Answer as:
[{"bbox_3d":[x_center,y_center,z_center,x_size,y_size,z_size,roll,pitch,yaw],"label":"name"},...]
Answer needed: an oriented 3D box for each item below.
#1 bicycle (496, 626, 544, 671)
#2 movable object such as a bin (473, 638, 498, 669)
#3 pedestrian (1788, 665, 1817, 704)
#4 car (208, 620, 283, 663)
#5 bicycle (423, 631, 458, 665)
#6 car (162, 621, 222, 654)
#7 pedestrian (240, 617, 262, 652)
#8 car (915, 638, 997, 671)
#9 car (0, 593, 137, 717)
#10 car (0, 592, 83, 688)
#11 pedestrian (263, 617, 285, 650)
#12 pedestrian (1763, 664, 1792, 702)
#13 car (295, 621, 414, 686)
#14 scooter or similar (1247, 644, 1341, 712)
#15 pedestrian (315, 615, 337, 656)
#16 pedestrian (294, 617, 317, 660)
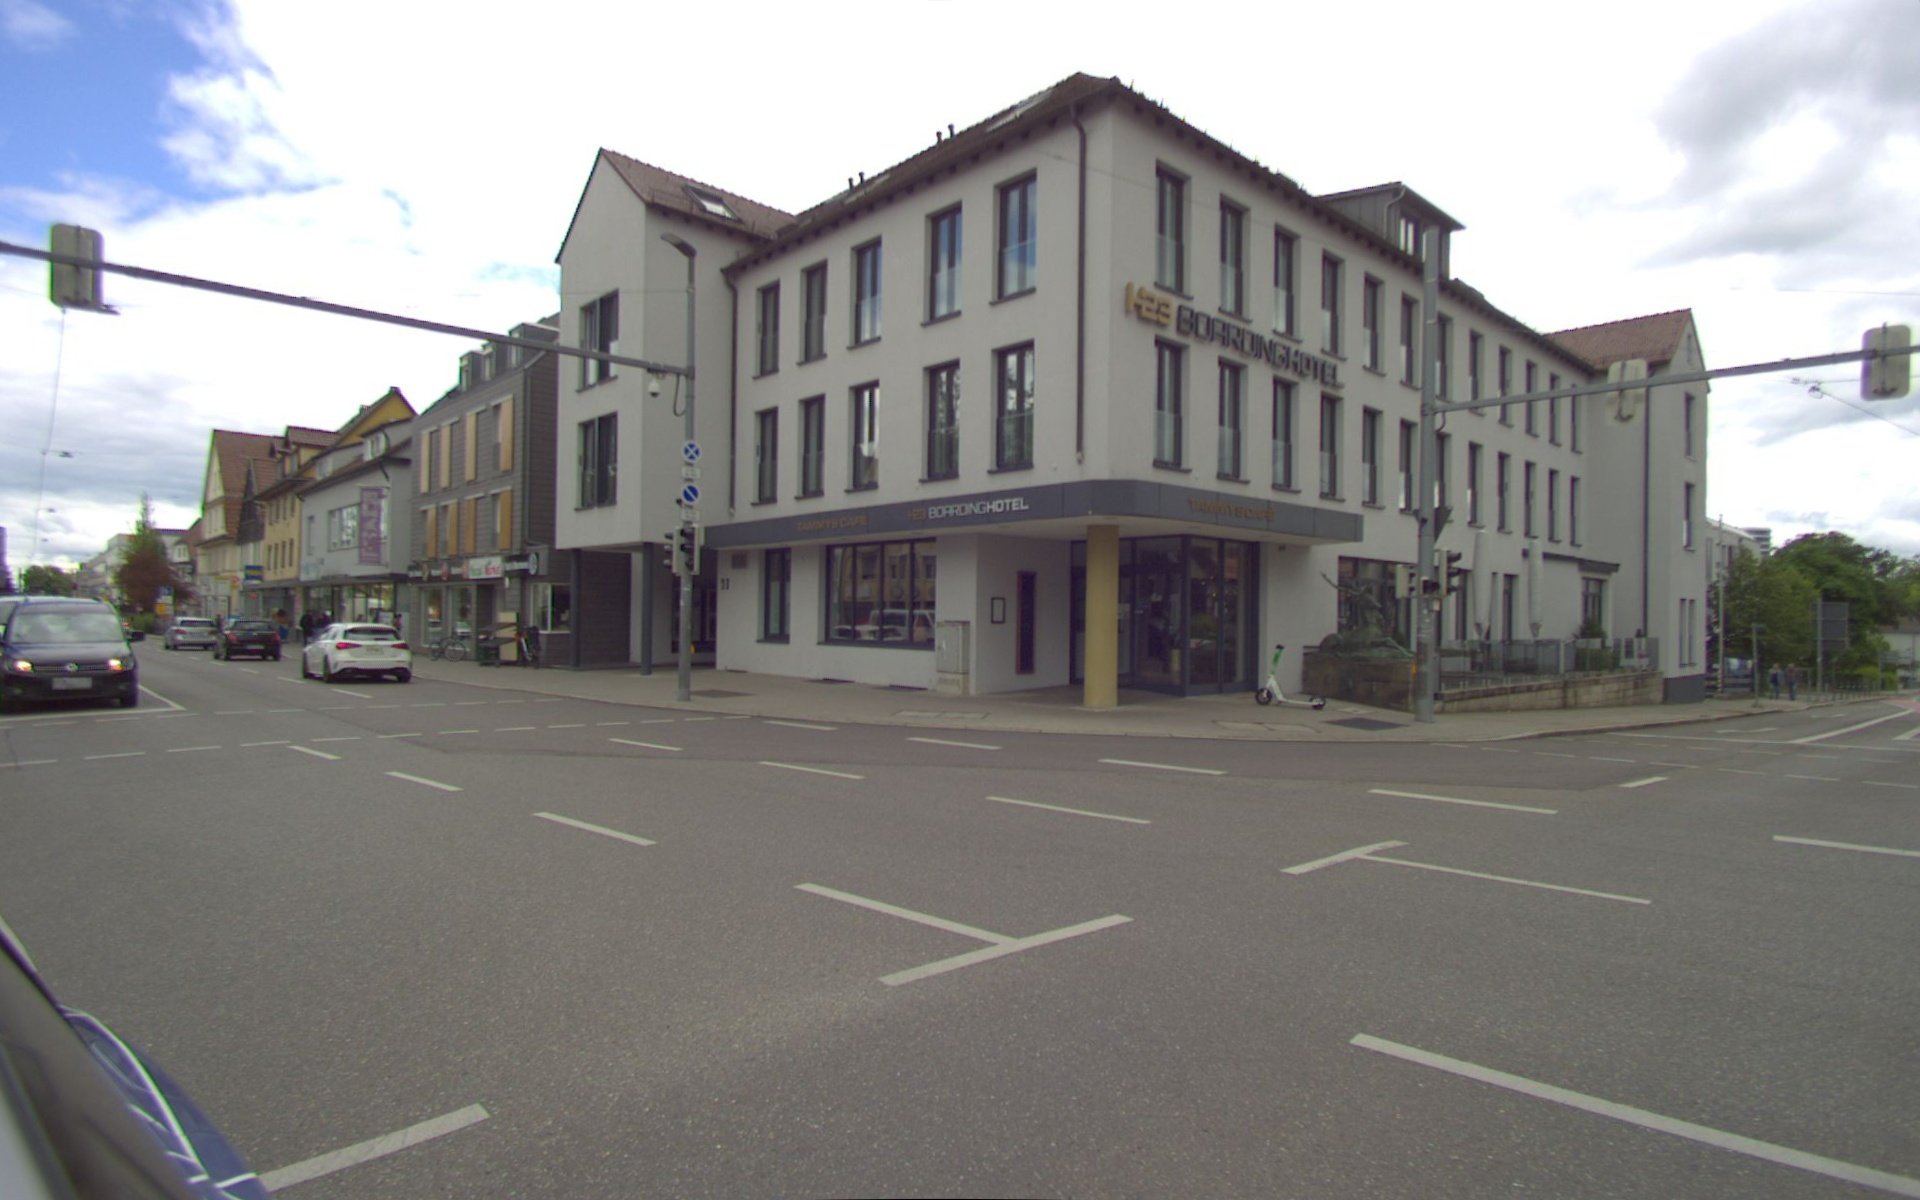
[{"bbox_3d":[-12.744,1.372,29.285,0.575,1.241,2.121,1,-1,-44],"label":"bicycle"},{"bbox_3d":[-14.589,1.637,31.125,0.544,0.906,0.507,0,-1,-45],"label":"movable object such as a bin"},{"bbox_3d":[37.871,3.789,45.480,0.850,1.665,0.864,1,-2,-41],"label":"pedestrian"},{"bbox_3d":[-26.132,1.495,36.965,1.723,1.470,3.821,2,-3,-43],"label":"car"},{"bbox_3d":[-17.469,1.598,34.038,0.565,1.109,1.904,0,-1,-42],"label":"bicycle"},{"bbox_3d":[-36.602,1.747,48.200,1.846,1.497,4.004,1,-2,-43],"label":"car"},{"bbox_3d":[-35.042,1.693,50.021,0.800,1.674,0.921,1,-2,-42],"label":"pedestrian"},{"bbox_3d":[-0.183,2.105,39.421,1.376,1.189,3.358,4,-3,-38],"label":"car"},{"bbox_3d":[-15.498,0.859,17.358,1.688,1.834,4.574,-2,0,-45],"label":"car"},{"bbox_3d":[-21.890,0.885,23.619,1.970,2.029,4.845,-1,0,-43],"label":"car"},{"bbox_3d":[-34.328,1.671,50.649,0.800,1.595,0.921,1,-2,-42],"label":"pedestrian"},{"bbox_3d":[37.285,3.788,46.167,0.850,1.665,0.864,1,-2,-41],"label":"pedestrian"},{"bbox_3d":[-15.036,1.269,25.037,1.723,1.470,4.240,2,-3,-42],"label":"car"},{"bbox_3d":[6.214,1.439,18.851,1.555,1.167,0.425,2,-1,6],"label":"scooter or similar"},{"bbox_3d":[-28.225,1.556,45.039,0.698,1.795,0.871,1,-2,-42],"label":"pedestrian"},{"bbox_3d":[-28.778,1.694,44.501,0.698,1.853,1.029,1,-2,-42],"label":"pedestrian"}]
